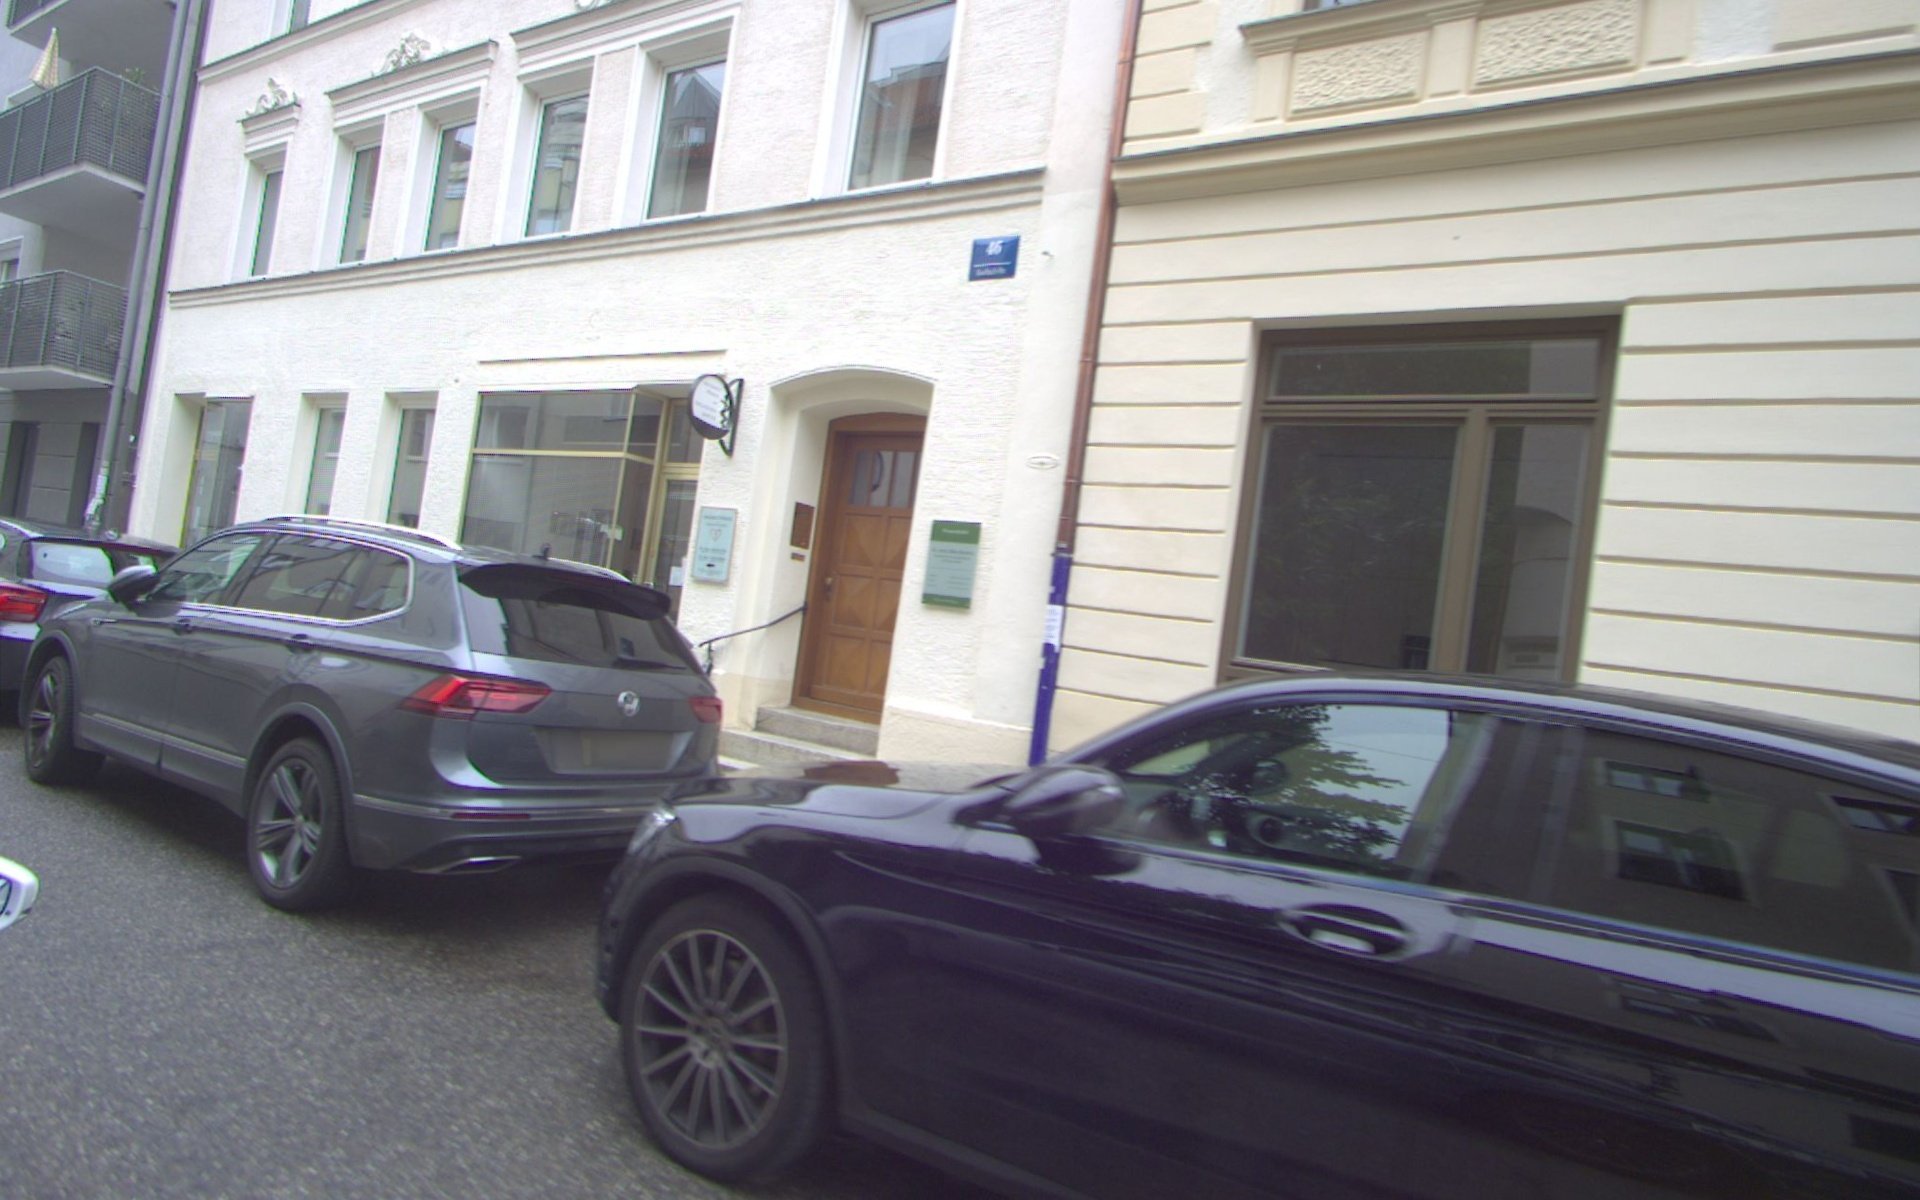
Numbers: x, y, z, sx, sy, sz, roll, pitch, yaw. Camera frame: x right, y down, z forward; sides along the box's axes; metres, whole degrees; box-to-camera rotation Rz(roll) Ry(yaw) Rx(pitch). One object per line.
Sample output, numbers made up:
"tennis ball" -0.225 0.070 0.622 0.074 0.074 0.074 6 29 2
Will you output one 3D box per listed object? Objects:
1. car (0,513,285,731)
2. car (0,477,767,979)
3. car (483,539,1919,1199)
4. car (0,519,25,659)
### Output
"car" -7.705 0.027 8.297 4.276 1.402 1.803 6 -2 31
"car" -3.387 0.413 5.513 4.437 1.679 1.680 6 -3 31
"car" 1.044 0.940 2.614 4.606 1.625 1.706 7 -3 31
"car" -11.620 -0.365 10.415 3.880 1.379 1.811 6 -2 32
